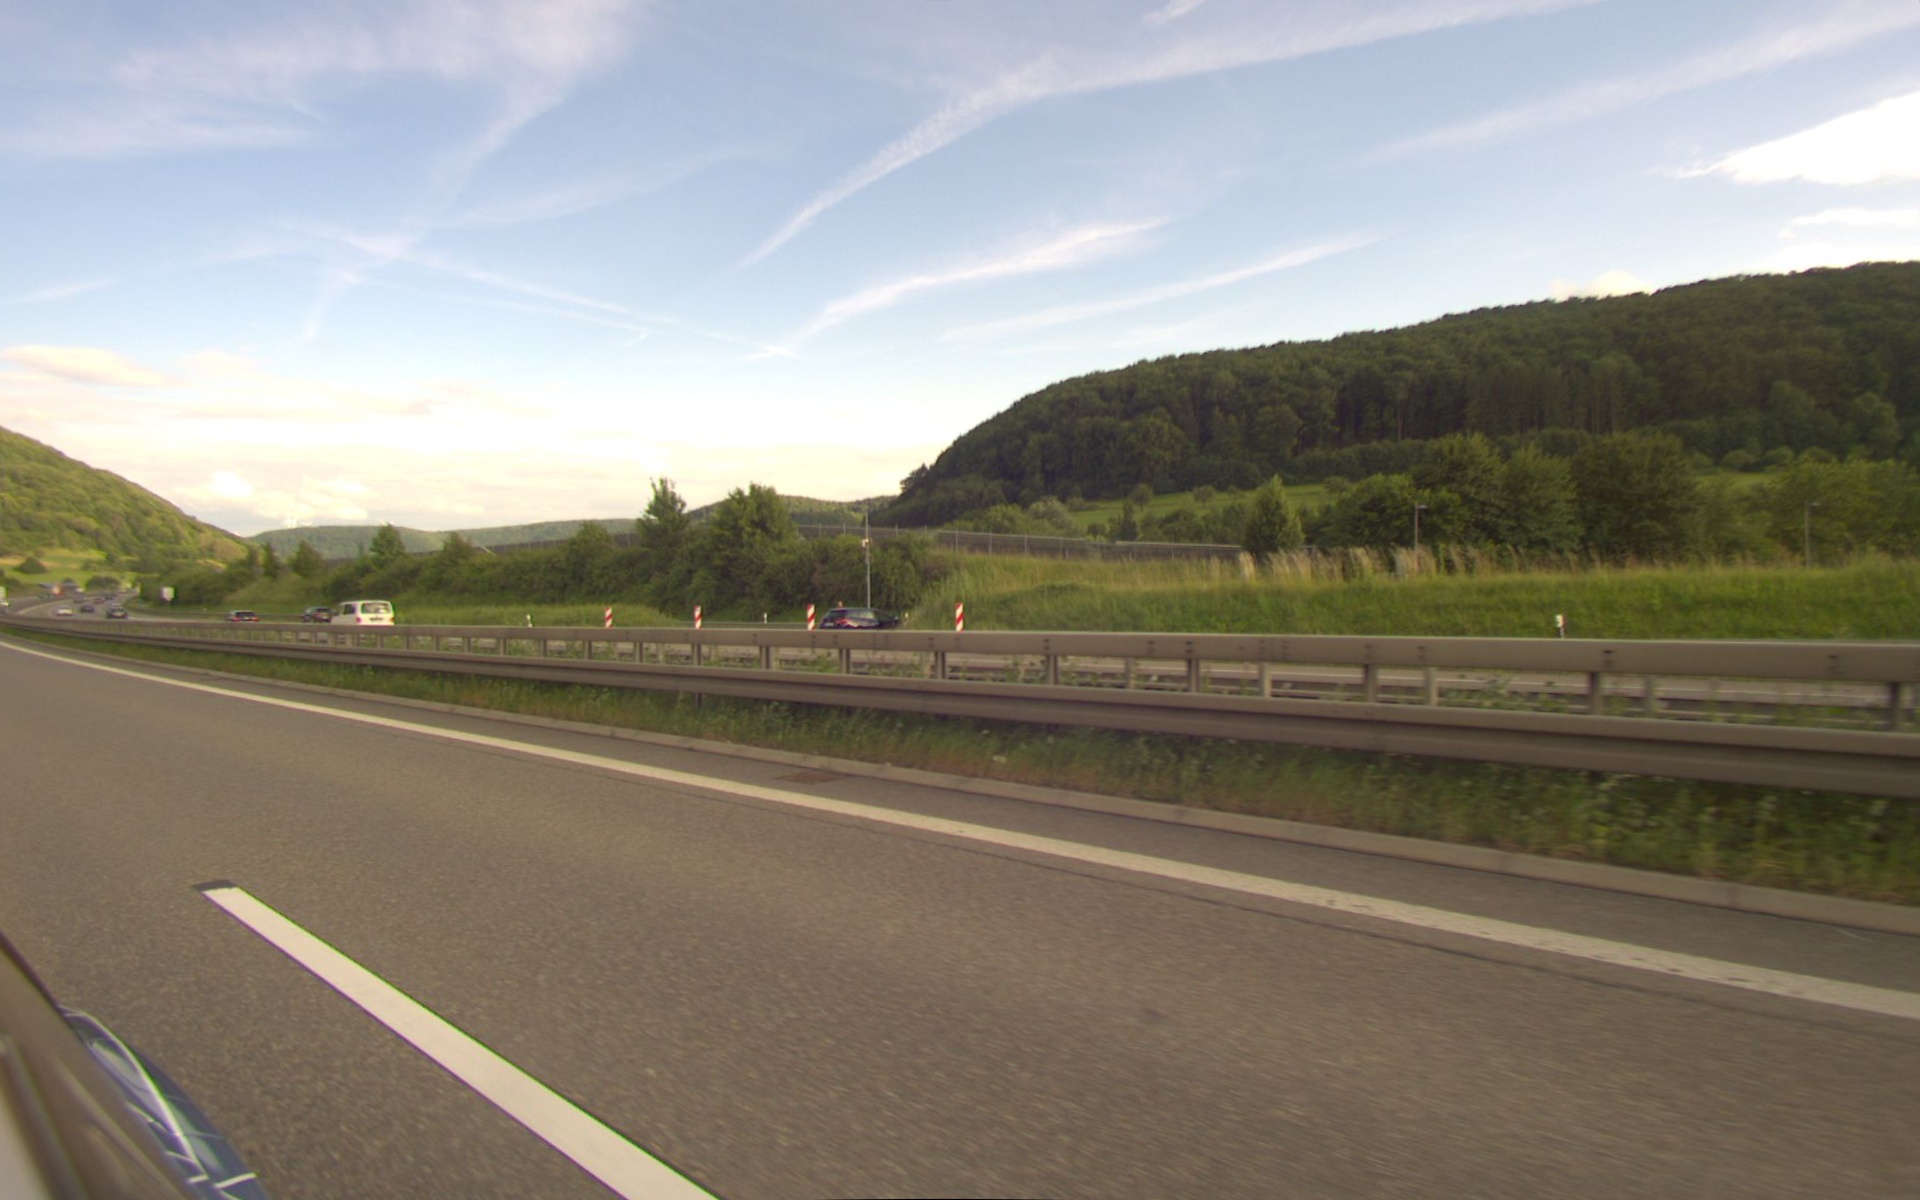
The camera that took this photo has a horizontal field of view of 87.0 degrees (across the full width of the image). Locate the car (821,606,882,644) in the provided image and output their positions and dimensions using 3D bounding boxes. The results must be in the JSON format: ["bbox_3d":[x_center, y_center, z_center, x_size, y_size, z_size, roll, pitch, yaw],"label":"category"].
[{"bbox_3d":[-4.691,1.083,44.389,1.974,1.563,4.614,0,-1,3],"label":"car"}]

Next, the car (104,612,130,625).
[{"bbox_3d":[-104.993,2.286,126.057,4.692,1.508,1.972,-1,-1,43],"label":"car"}]

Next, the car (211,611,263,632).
[{"bbox_3d":[-52.748,1.550,73.801,4.687,1.508,1.974,-1,-1,39],"label":"car"}]

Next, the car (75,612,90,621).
[{"bbox_3d":[-154.316,2.944,177.898,1.969,1.497,4.006,0,-1,-41],"label":"car"}]

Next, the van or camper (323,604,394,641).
[{"bbox_3d":[-31.817,1.156,53.515,4.753,1.888,1.895,-1,-1,42],"label":"van or camper"}]

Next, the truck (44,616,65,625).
[{"bbox_3d":[-136.362,3.058,152.354,4.645,1.375,1.972,-1,0,43],"label":"truck"}]
